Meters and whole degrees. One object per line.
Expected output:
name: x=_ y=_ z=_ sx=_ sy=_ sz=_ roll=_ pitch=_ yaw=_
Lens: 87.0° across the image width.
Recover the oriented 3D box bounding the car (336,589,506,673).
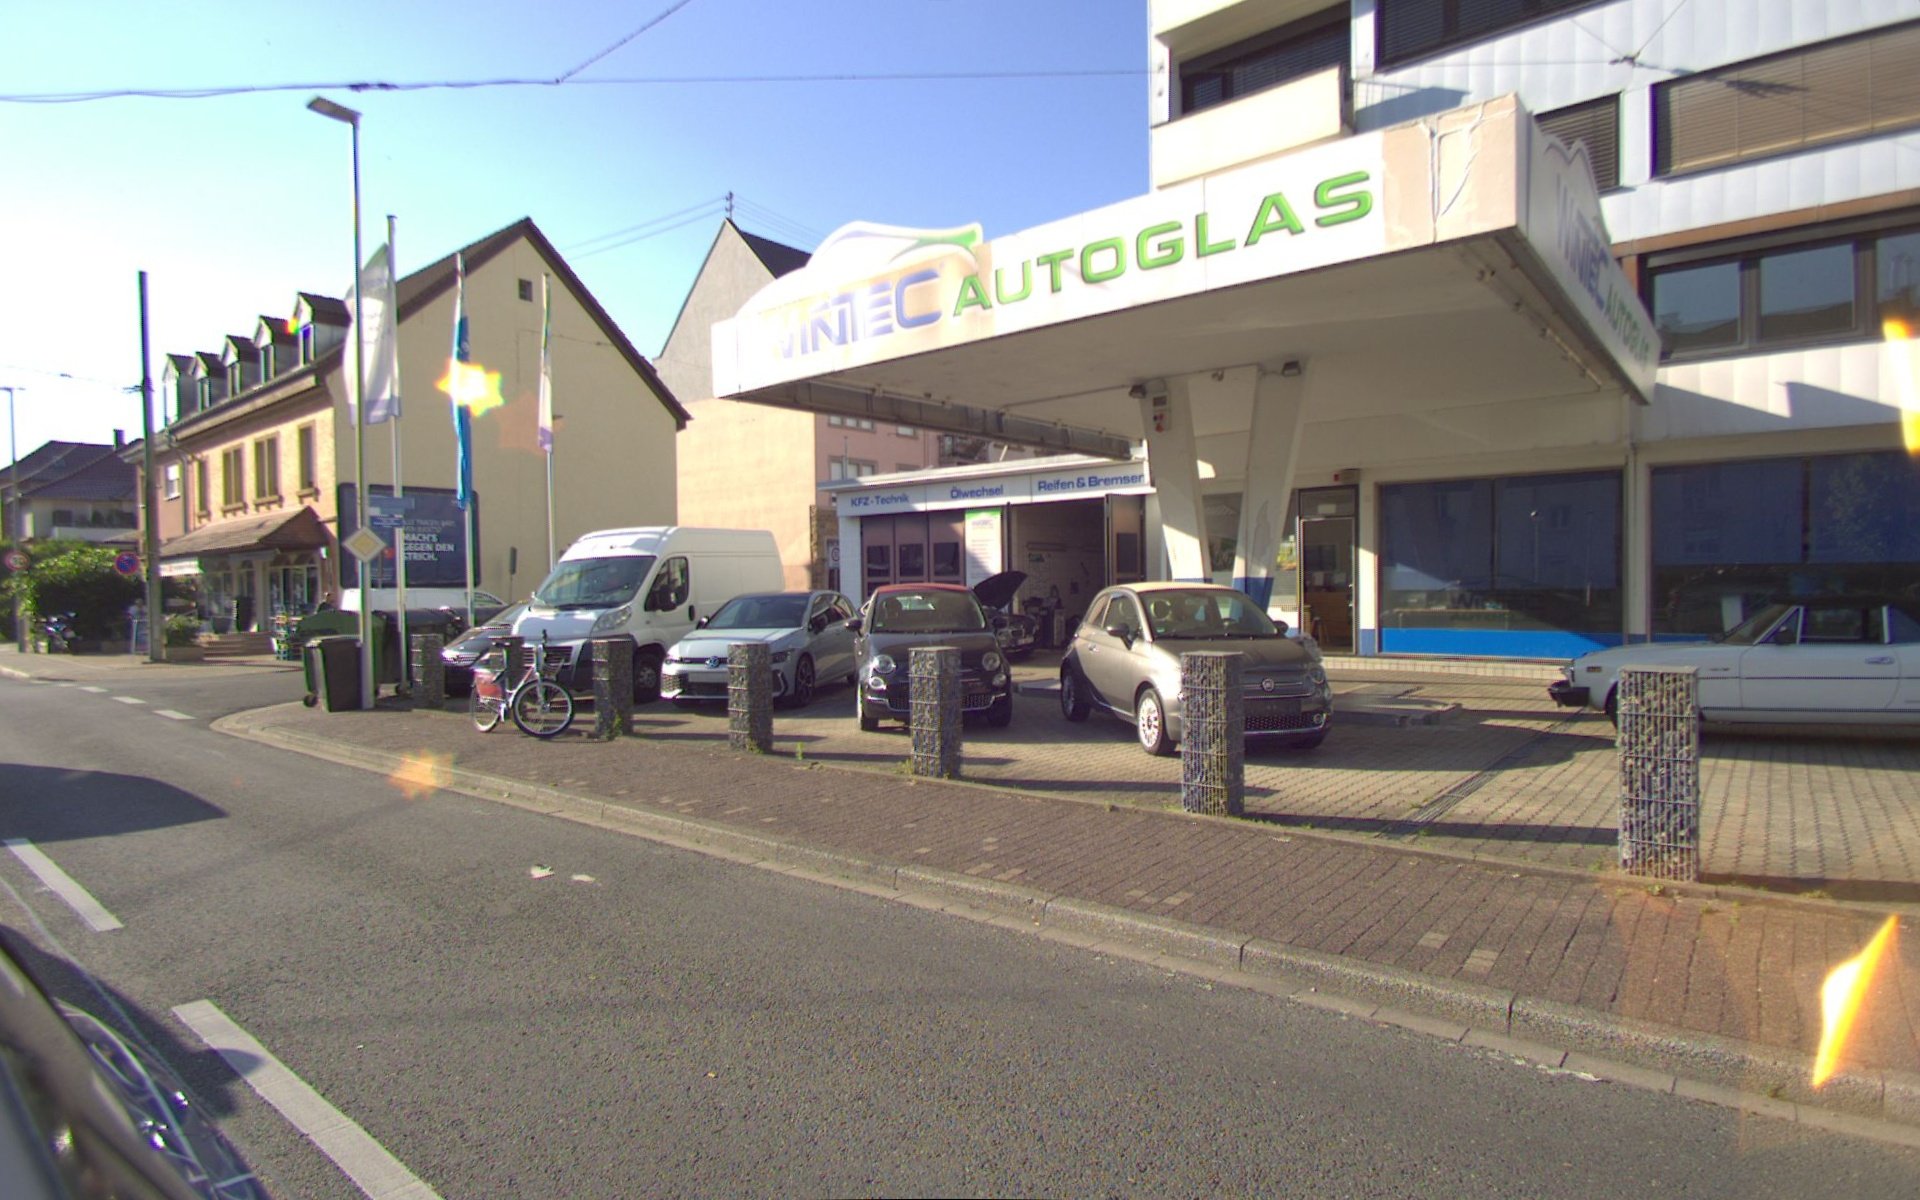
car: x=-13.894 y=0.740 z=26.253 sx=1.449 sy=2.029 sz=3.628 roll=-1 pitch=0 yaw=37

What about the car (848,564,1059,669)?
car: x=-0.208 y=0.322 z=20.921 sx=4.255 sy=1.958 sz=1.720 roll=-1 pitch=0 yaw=40

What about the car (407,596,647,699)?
car: x=-7.063 y=0.705 z=17.009 sx=1.725 sy=1.488 sz=4.016 roll=-1 pitch=0 yaw=12

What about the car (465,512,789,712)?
car: x=-4.689 y=0.133 z=15.224 sx=2.098 sy=2.472 sz=4.963 roll=-1 pitch=0 yaw=18

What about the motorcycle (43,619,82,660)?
motorcycle: x=-27.968 y=1.205 z=31.529 sx=2.186 sy=1.226 sz=0.699 roll=-1 pitch=0 yaw=43

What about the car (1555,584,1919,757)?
car: x=7.384 y=0.544 z=8.572 sx=3.898 sy=1.308 sz=1.506 roll=-1 pitch=-1 yaw=37

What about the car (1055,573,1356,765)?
car: x=2.152 y=0.537 z=9.795 sx=1.517 sy=1.497 sz=3.381 roll=-1 pitch=0 yaw=-11

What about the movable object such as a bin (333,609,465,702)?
movable object such as a bin: x=-9.578 y=0.916 z=17.370 sx=1.039 sy=1.475 sz=1.787 roll=-1 pitch=0 yaw=15

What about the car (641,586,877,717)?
car: x=-2.533 y=0.590 z=13.805 sx=1.725 sy=1.508 sz=4.016 roll=-1 pitch=0 yaw=12

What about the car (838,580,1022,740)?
car: x=-0.484 y=0.566 z=11.509 sx=1.569 sy=1.508 sz=3.443 roll=-1 pitch=0 yaw=-10

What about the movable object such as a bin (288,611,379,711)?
movable object such as a bin: x=-9.707 y=0.918 z=15.714 sx=1.030 sy=1.475 sz=0.798 roll=-1 pitch=0 yaw=-18

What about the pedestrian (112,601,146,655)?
pedestrian: x=-26.768 y=0.889 z=32.592 sx=0.797 sy=1.726 sz=0.861 roll=-1 pitch=0 yaw=-41

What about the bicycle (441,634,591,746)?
bicycle: x=-4.896 y=0.943 z=11.123 sx=1.789 sy=1.094 sz=0.716 roll=-1 pitch=1 yaw=37

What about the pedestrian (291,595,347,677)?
pedestrian: x=-14.906 y=0.831 z=23.560 sx=0.757 sy=1.866 sz=0.822 roll=-1 pitch=0 yaw=3
